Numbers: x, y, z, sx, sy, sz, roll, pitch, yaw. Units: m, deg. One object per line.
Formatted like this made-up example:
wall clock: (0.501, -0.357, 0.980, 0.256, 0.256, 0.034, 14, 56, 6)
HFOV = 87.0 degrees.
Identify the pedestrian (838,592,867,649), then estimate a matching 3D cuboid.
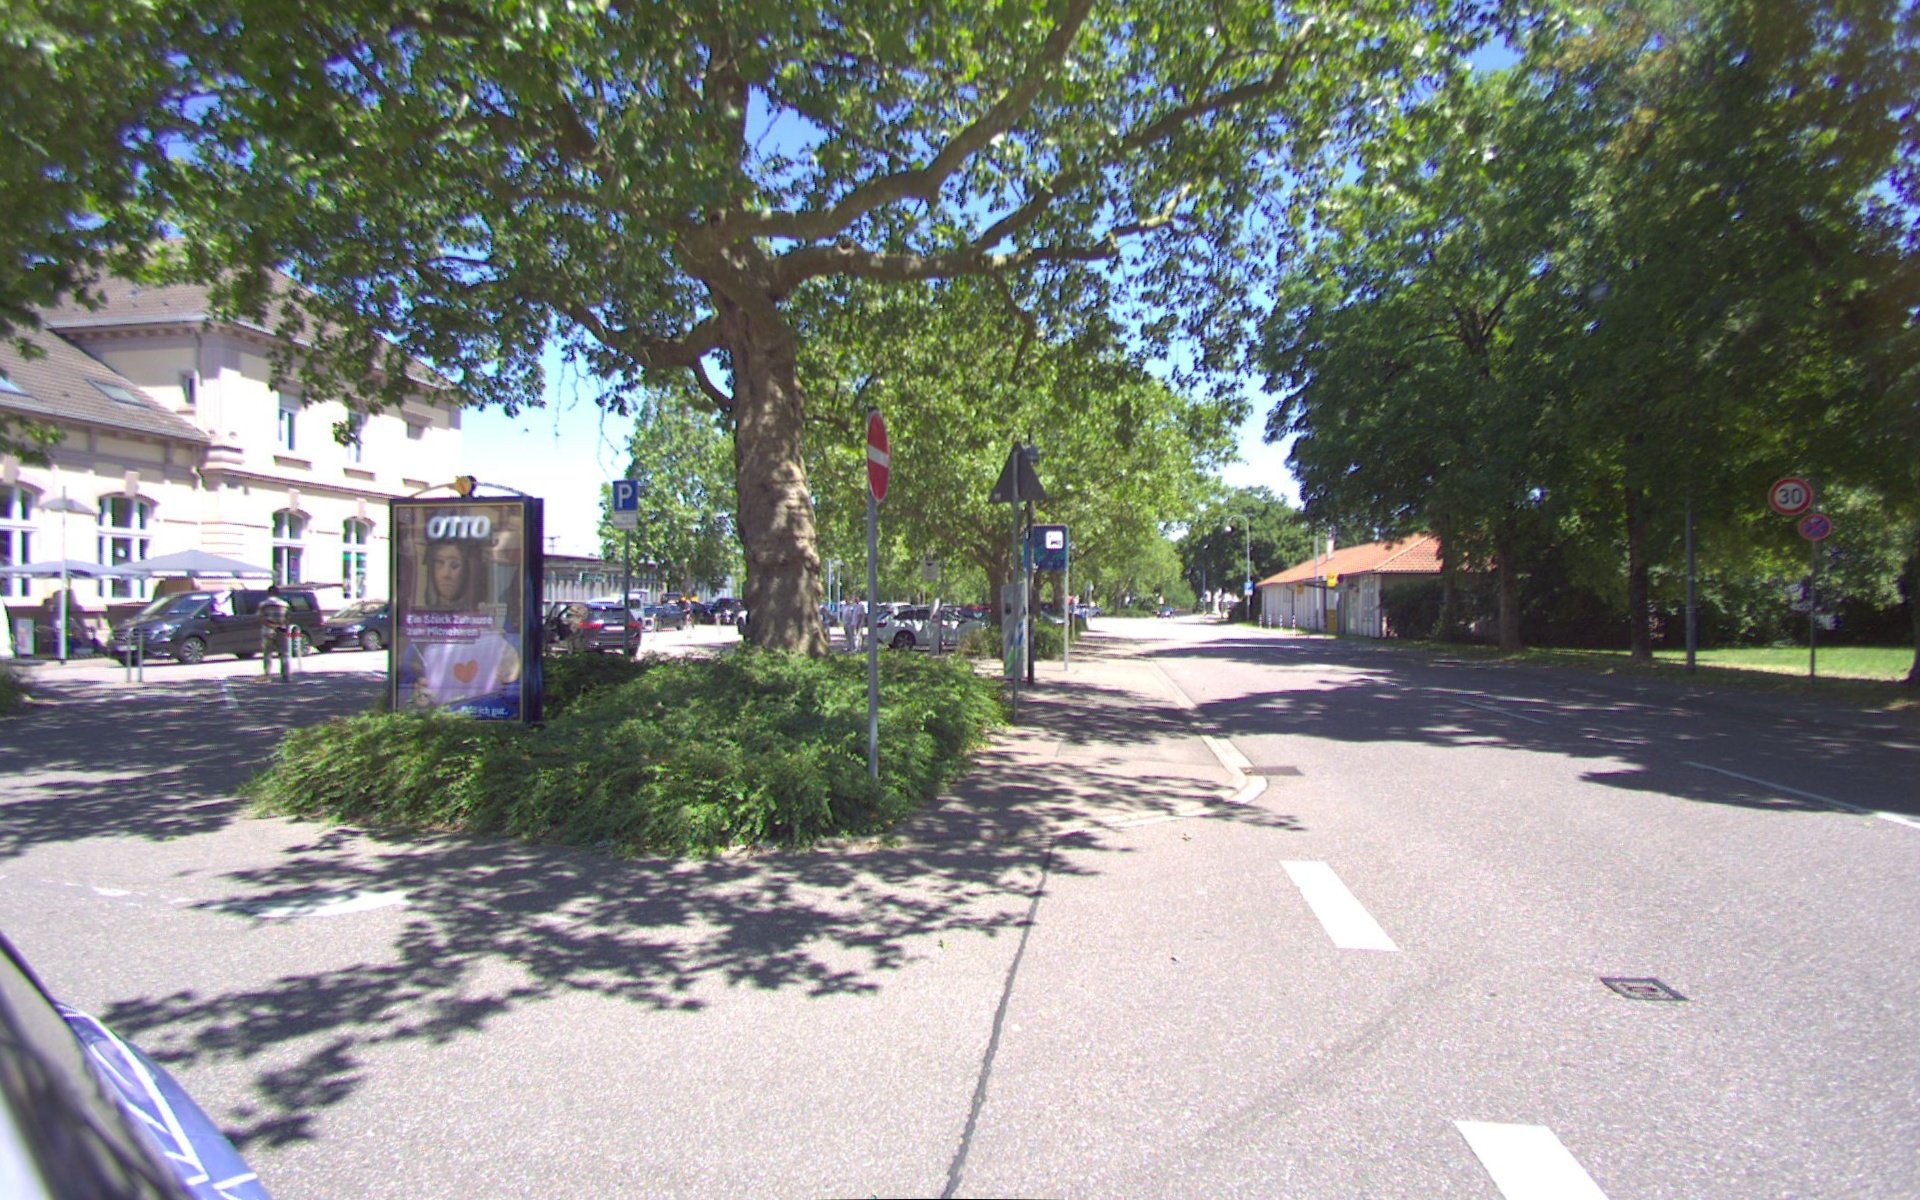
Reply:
pedestrian: (-3.438, 0.652, 32.333, 0.825, 1.784, 0.854, 0, 0, -12)

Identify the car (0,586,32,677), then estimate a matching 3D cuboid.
car: (-20.897, 0.630, 19.099, 1.793, 1.880, 5.129, -1, -1, 6)

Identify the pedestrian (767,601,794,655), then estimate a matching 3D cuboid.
pedestrian: (-5.211, 0.806, 29.413, 0.583, 1.559, 0.609, 1, 0, 9)

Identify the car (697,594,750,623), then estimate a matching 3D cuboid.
car: (-15.949, 0.536, 68.408, 1.978, 1.803, 4.235, -2, 0, 9)

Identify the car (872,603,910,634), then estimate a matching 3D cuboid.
car: (-4.435, 1.179, 64.592, 1.709, 1.908, 4.011, 0, 0, -15)

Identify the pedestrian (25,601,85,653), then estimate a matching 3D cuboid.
pedestrian: (-24.782, 0.723, 27.723, 0.870, 1.381, 0.850, 1, 0, 5)

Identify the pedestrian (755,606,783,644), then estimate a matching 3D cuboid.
pedestrian: (-7.409, 0.953, 39.267, 0.689, 1.435, 0.791, 0, -1, 36)

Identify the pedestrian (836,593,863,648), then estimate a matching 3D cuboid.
pedestrian: (-3.640, 0.665, 33.355, 0.825, 1.784, 0.853, 0, 0, -10)

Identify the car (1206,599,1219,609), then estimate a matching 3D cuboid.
car: (45.562, 0.649, 182.637, 1.877, 1.787, 3.991, 0, 0, 7)

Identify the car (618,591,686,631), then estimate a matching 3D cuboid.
car: (-16.340, 0.570, 54.010, 1.978, 2.005, 4.598, -2, 0, 3)

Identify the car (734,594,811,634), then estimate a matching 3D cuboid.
car: (-8.386, 0.582, 44.971, 1.771, 1.617, 4.073, -2, 2, -36)

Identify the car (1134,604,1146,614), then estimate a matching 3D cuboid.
car: (32.370, 1.593, 182.028, 1.907, 1.677, 3.991, 0, 0, 7)

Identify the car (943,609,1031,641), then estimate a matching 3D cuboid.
car: (1.275, 1.159, 47.724, 3.809, 1.471, 1.642, 0, 0, -19)

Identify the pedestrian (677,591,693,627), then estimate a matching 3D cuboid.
pedestrian: (-15.418, 0.510, 56.751, 0.620, 2.005, 0.616, -2, 0, 3)

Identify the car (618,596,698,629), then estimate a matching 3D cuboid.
car: (-21.147, 0.881, 70.897, 4.906, 2.136, 2.047, -2, 0, 8)

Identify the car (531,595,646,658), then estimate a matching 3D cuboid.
car: (-10.597, 0.678, 28.678, 1.772, 1.554, 4.540, -2, 2, -38)

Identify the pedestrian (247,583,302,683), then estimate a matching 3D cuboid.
pedestrian: (-12.243, 0.576, 18.073, 0.761, 1.730, 0.816, 0, 0, -38)

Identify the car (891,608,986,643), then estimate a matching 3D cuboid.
car: (-0.937, 1.083, 43.670, 3.809, 1.471, 1.642, 0, 0, -19)

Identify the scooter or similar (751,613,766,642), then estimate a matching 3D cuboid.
scooter or similar: (-7.902, 1.084, 39.665, 0.402, 1.110, 0.432, 0, -1, 38)

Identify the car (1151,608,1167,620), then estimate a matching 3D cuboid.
car: (25.220, 1.796, 128.421, 1.647, 1.386, 3.433, -3, -1, 16)

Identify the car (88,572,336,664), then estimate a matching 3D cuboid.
car: (-19.391, 0.469, 26.716, 2.066, 2.140, 5.820, -1, -1, 3)

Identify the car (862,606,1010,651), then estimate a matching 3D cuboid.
car: (-0.842, 0.917, 33.746, 4.700, 1.427, 1.790, 0, 0, -10)

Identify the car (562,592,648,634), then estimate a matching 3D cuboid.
car: (-16.778, 0.586, 48.167, 1.978, 1.854, 5.313, -2, 0, 3)

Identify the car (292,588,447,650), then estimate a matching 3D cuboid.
car: (-19.061, 0.617, 32.963, 2.053, 1.854, 4.835, -1, -1, 3)
